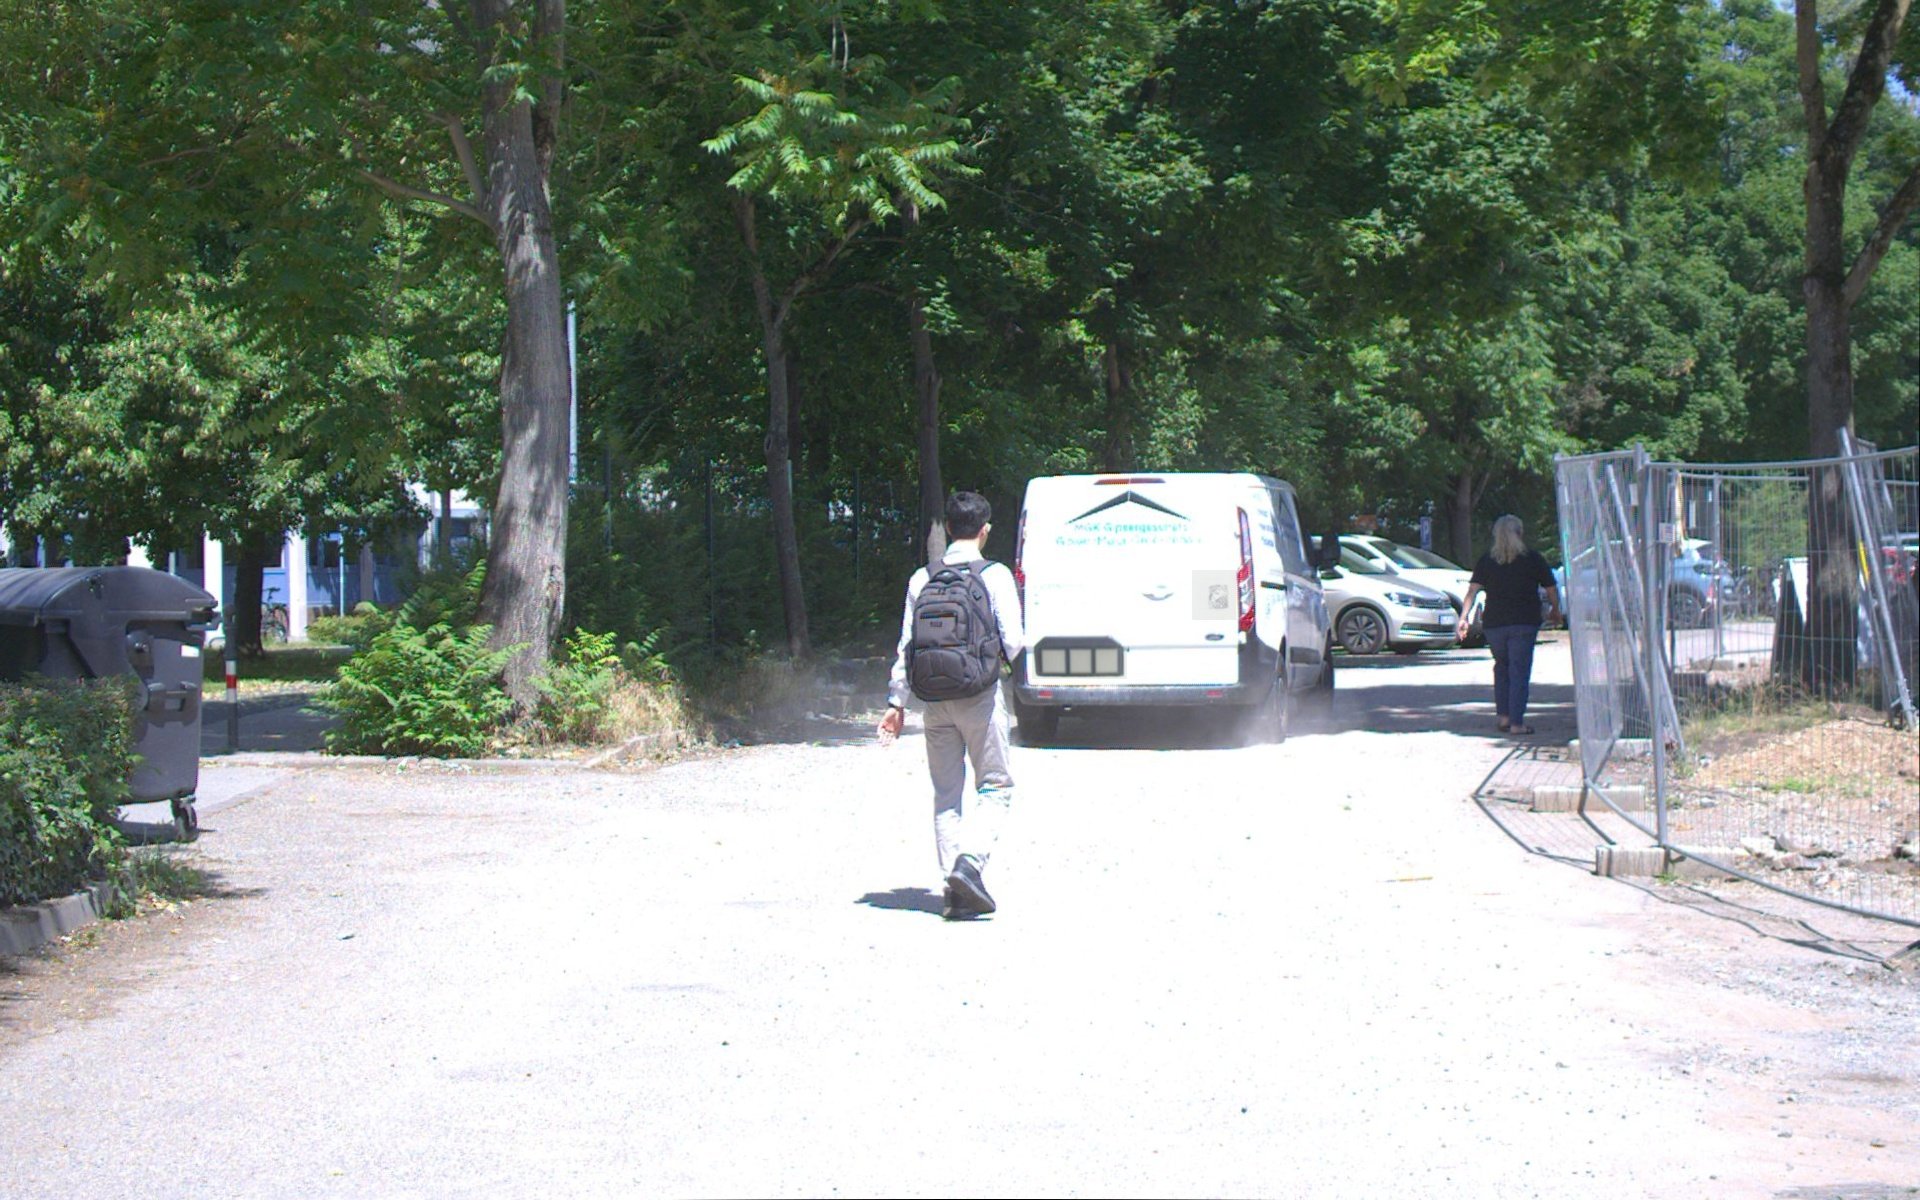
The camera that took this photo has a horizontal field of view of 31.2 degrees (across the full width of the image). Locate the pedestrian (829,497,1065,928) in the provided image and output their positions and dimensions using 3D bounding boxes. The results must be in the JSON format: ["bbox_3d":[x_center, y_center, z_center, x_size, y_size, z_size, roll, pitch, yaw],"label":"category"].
[{"bbox_3d":[-0.036,0.439,14.341,0.874,1.723,1.080,0,2,5],"label":"pedestrian"}]

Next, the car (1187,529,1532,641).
[{"bbox_3d":[5.627,-0.235,48.519,4.512,1.526,1.723,0,1,26],"label":"car"}]

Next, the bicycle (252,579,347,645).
[{"bbox_3d":[-11.376,0.199,59.263,0.600,1.081,1.937,0,1,25],"label":"bicycle"}]

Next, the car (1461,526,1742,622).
[{"bbox_3d":[11.148,-0.471,59.823,4.512,1.592,1.723,0,2,26],"label":"car"}]

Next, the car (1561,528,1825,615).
[{"bbox_3d":[13.805,-0.545,64.771,4.512,1.592,1.934,0,1,27],"label":"car"}]

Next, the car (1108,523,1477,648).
[{"bbox_3d":[4.464,-0.189,46.270,4.512,1.604,1.997,0,-1,27],"label":"car"}]

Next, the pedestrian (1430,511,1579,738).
[{"bbox_3d":[4.066,0.164,25.620,1.036,1.644,1.048,0,2,12],"label":"pedestrian"}]

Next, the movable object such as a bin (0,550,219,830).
[{"bbox_3d":[-4.677,0.440,18.048,1.113,1.389,1.160,-2,2,-40],"label":"movable object such as a bin"}]

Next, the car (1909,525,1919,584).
[{"bbox_3d":[27.823,-1.233,91.834,4.512,1.592,1.723,0,1,26],"label":"car"}]

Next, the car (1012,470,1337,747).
[{"bbox_3d":[1.753,0.016,26.533,1.974,1.940,4.579,0,1,10],"label":"car"}]
